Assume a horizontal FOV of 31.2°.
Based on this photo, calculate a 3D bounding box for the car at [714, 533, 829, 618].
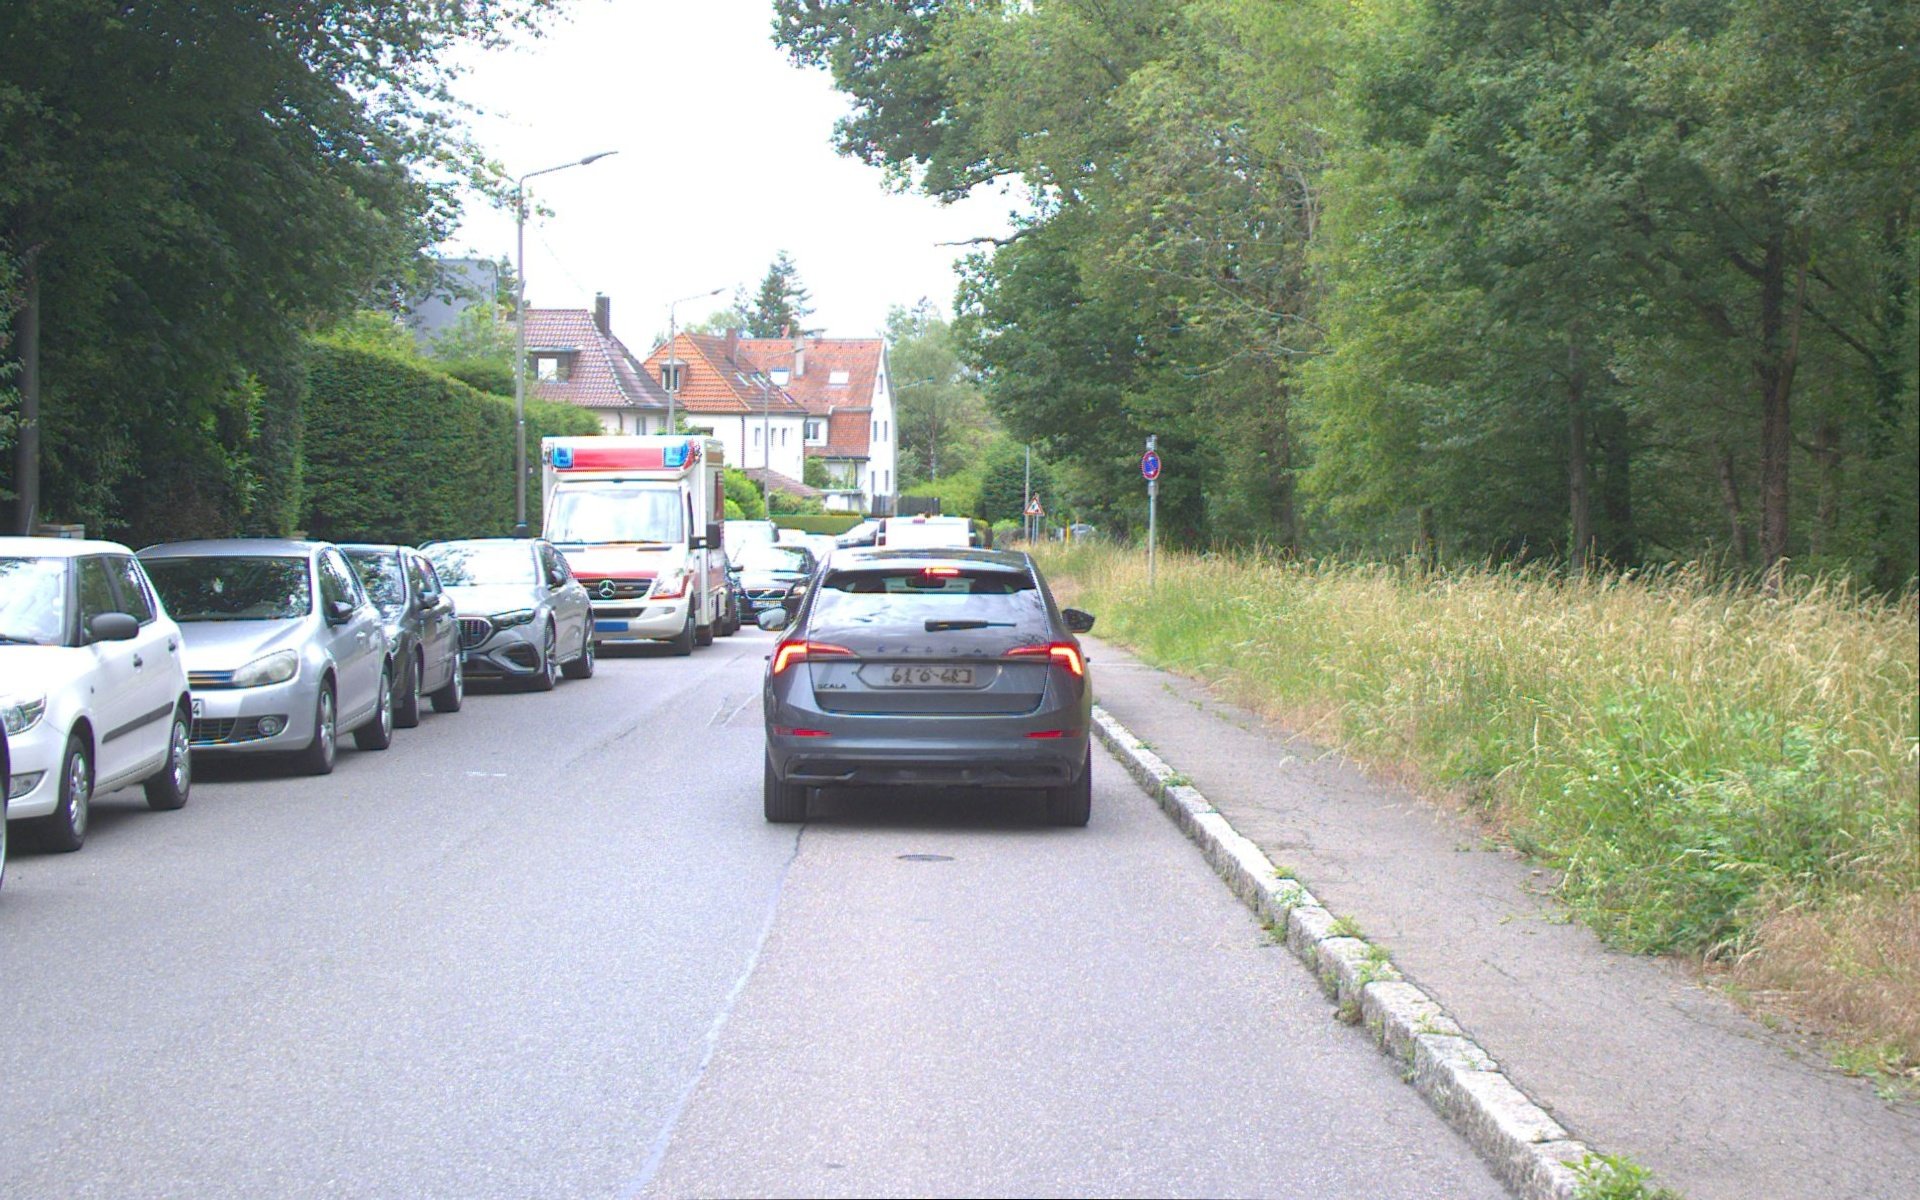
[{"bbox_3d":[-3.314,-0.467,61.135,1.763,1.441,4.474,0,1,0],"label":"car"}]

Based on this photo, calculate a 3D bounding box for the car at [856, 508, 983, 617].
[{"bbox_3d":[-0.807,-0.738,64.516,2.071,1.915,4.923,1,1,-4],"label":"car"}]

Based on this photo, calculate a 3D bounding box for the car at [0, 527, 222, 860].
[{"bbox_3d":[-4.964,0.402,17.512,1.720,1.499,3.817,-1,1,-3],"label":"car"}]

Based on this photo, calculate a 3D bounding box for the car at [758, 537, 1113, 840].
[{"bbox_3d":[-0.246,0.405,19.328,1.727,1.434,4.324,2,1,-4],"label":"car"}]

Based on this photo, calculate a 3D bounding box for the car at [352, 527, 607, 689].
[{"bbox_3d":[-4.813,0.034,35.069,1.798,1.499,4.863,-1,1,1],"label":"car"}]

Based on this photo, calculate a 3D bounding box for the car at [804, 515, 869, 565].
[{"bbox_3d":[-3.673,-1.811,102.688,1.863,1.409,4.593,2,1,-1],"label":"car"}]

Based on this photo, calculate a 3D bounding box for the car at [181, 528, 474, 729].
[{"bbox_3d":[-5.135,0.183,28.381,1.720,1.499,4.061,-1,1,-1],"label":"car"}]

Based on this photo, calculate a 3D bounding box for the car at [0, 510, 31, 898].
[{"bbox_3d":[-4.731,0.480,12.024,1.916,1.556,4.605,-1,1,-3],"label":"car"}]

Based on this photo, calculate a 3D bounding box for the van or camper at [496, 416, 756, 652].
[{"bbox_3d":[-4.313,-0.888,45.716,2.456,2.885,7.168,0,1,3],"label":"van or camper"}]

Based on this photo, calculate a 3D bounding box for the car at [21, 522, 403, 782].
[{"bbox_3d":[-4.761,0.272,22.401,1.720,1.499,4.008,-1,1,-2],"label":"car"}]

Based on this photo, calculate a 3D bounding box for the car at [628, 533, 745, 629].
[{"bbox_3d":[-4.284,-0.330,54.235,1.763,1.441,4.474,0,1,-4],"label":"car"}]
